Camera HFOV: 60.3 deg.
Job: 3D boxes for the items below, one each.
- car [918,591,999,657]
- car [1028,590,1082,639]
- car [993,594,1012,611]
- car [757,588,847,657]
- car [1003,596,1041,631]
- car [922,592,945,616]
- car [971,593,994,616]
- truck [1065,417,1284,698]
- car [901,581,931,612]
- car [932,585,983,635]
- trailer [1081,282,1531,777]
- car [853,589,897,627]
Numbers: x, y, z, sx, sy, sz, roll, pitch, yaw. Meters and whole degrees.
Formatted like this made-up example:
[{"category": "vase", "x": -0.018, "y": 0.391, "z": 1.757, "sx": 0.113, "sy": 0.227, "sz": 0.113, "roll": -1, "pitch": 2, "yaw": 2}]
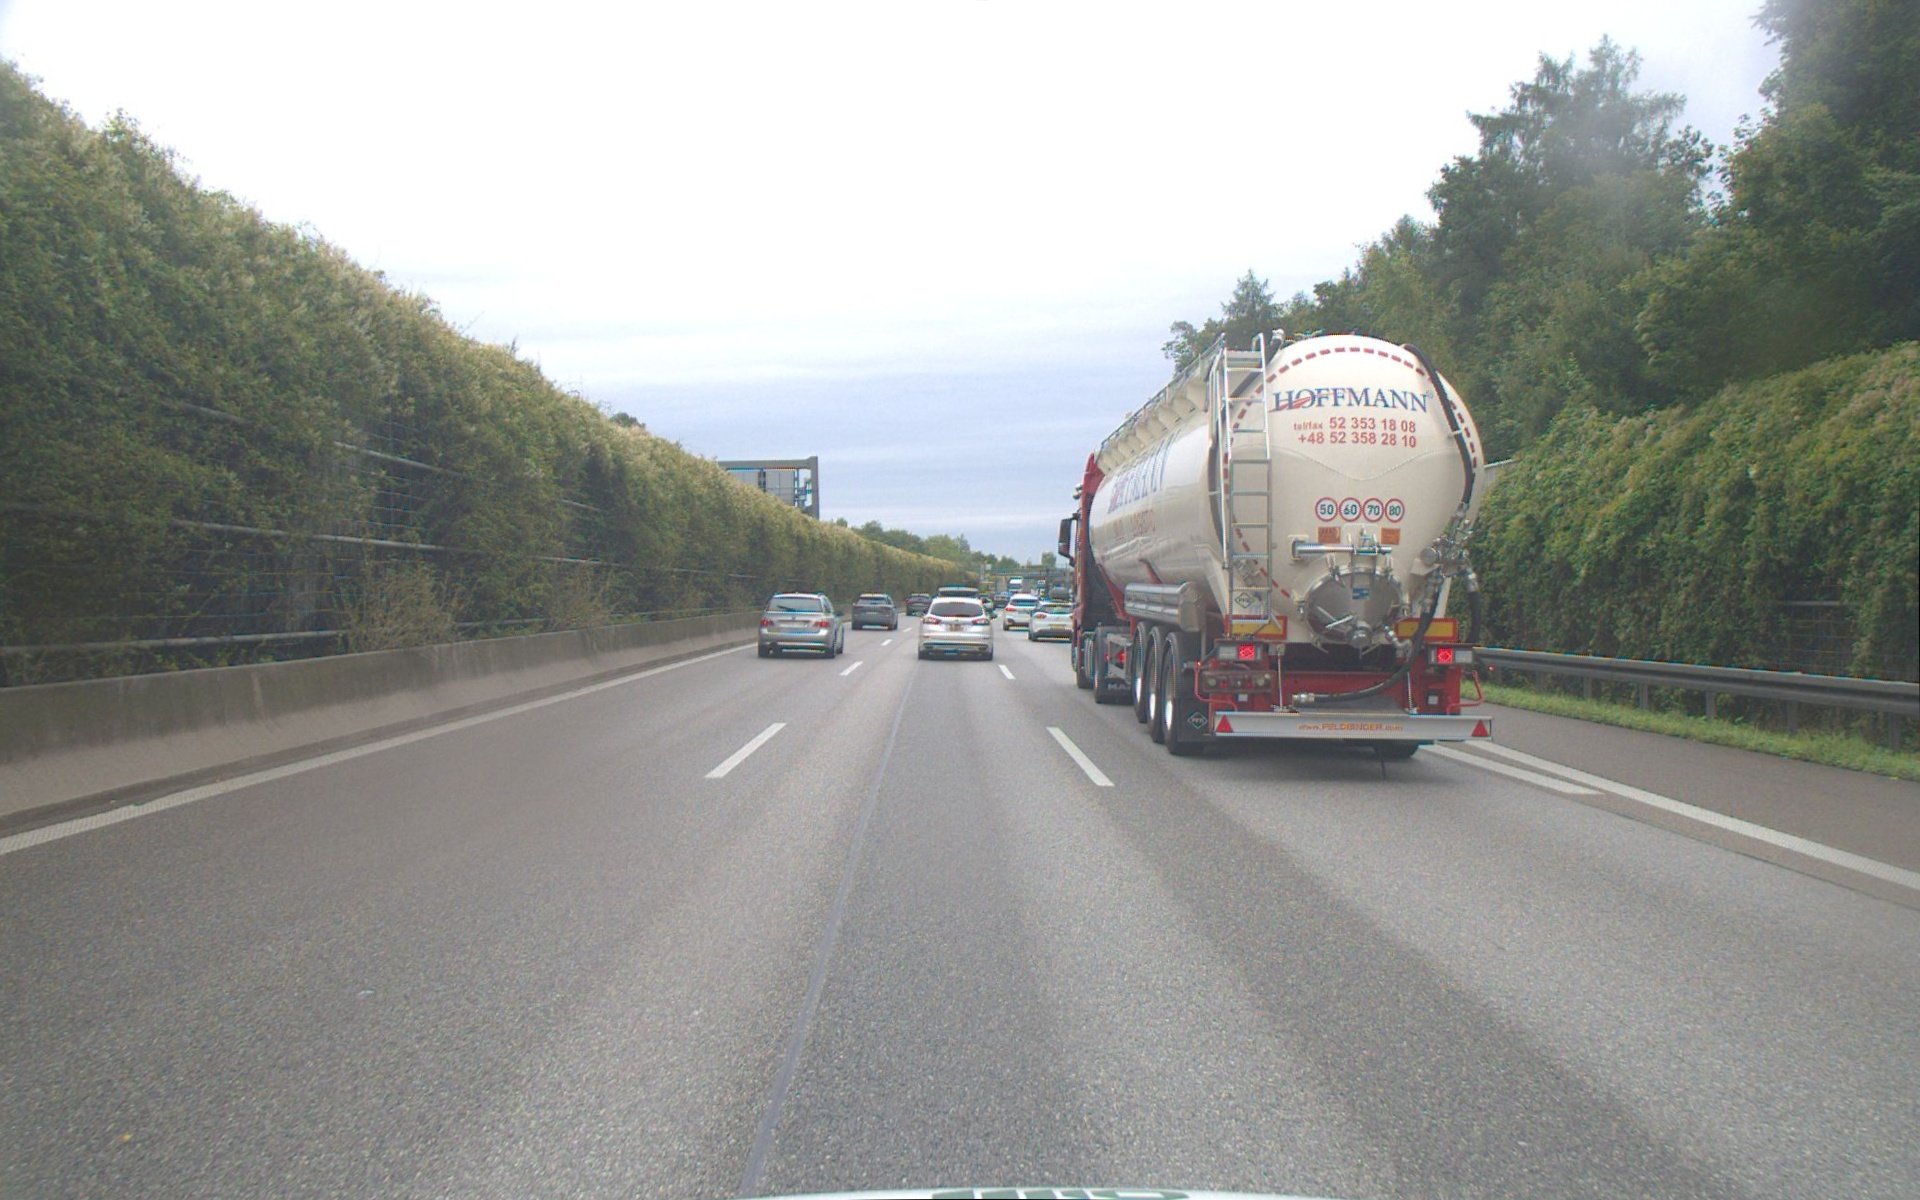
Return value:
[{"category": "car", "x": -0.032, "y": 0.546, "z": 40.984, "sx": 1.853, "sy": 1.530, "sz": 5.030, "roll": 0, "pitch": 0, "yaw": 0}, {"category": "car", "x": 3.322, "y": 0.474, "z": 58.405, "sx": 1.778, "sy": 1.654, "sz": 5.031, "roll": 0, "pitch": 0, "yaw": 2}, {"category": "car", "x": 4.093, "y": 0.214, "z": 159.298, "sx": 1.653, "sy": 1.566, "sz": 3.873, "roll": 0, "pitch": 1, "yaw": 4}, {"category": "car", "x": -3.743, "y": 0.496, "z": 39.955, "sx": 1.685, "sy": 1.494, "sz": 5.030, "roll": 1, "pitch": 1, "yaw": 0}, {"category": "car", "x": 2.791, "y": 0.614, "z": 75.024, "sx": 1.654, "sy": 1.533, "sz": 3.872, "roll": 1, "pitch": 0, "yaw": 2}, {"category": "car", "x": -2.315, "y": 0.333, "z": 142.670, "sx": 1.953, "sy": 2.049, "sz": 3.999, "roll": 0, "pitch": 0, "yaw": -1}, {"category": "car", "x": 1.792, "y": 0.336, "z": 129.891, "sx": 1.753, "sy": 1.811, "sz": 3.872, "roll": 0, "pitch": 0, "yaw": 1}, {"category": "truck", "x": 3.270, "y": -0.593, "z": 26.879, "sx": 2.640, "sy": 3.981, "sz": 6.555, "roll": 1, "pitch": 0, "yaw": 0}, {"category": "car", "x": -2.946, "y": -0.228, "z": 110.958, "sx": 1.953, "sy": 2.049, "sz": 3.840, "roll": 0, "pitch": 0, "yaw": -1}, {"category": "car", "x": -0.106, "y": 0.342, "z": 59.029, "sx": 1.655, "sy": 1.532, "sz": 3.872, "roll": 4, "pitch": 2, "yaw": 0}, {"category": "trailer", "x": 3.304, "y": -0.559, "z": 20.039, "sx": 2.613, "sy": 4.008, "sz": 13.128, "roll": 1, "pitch": 0, "yaw": 0}, {"category": "car", "x": -3.519, "y": 0.304, "z": 69.051, "sx": 1.685, "sy": 1.538, "sz": 5.029, "roll": 0, "pitch": 0, "yaw": -1}]
